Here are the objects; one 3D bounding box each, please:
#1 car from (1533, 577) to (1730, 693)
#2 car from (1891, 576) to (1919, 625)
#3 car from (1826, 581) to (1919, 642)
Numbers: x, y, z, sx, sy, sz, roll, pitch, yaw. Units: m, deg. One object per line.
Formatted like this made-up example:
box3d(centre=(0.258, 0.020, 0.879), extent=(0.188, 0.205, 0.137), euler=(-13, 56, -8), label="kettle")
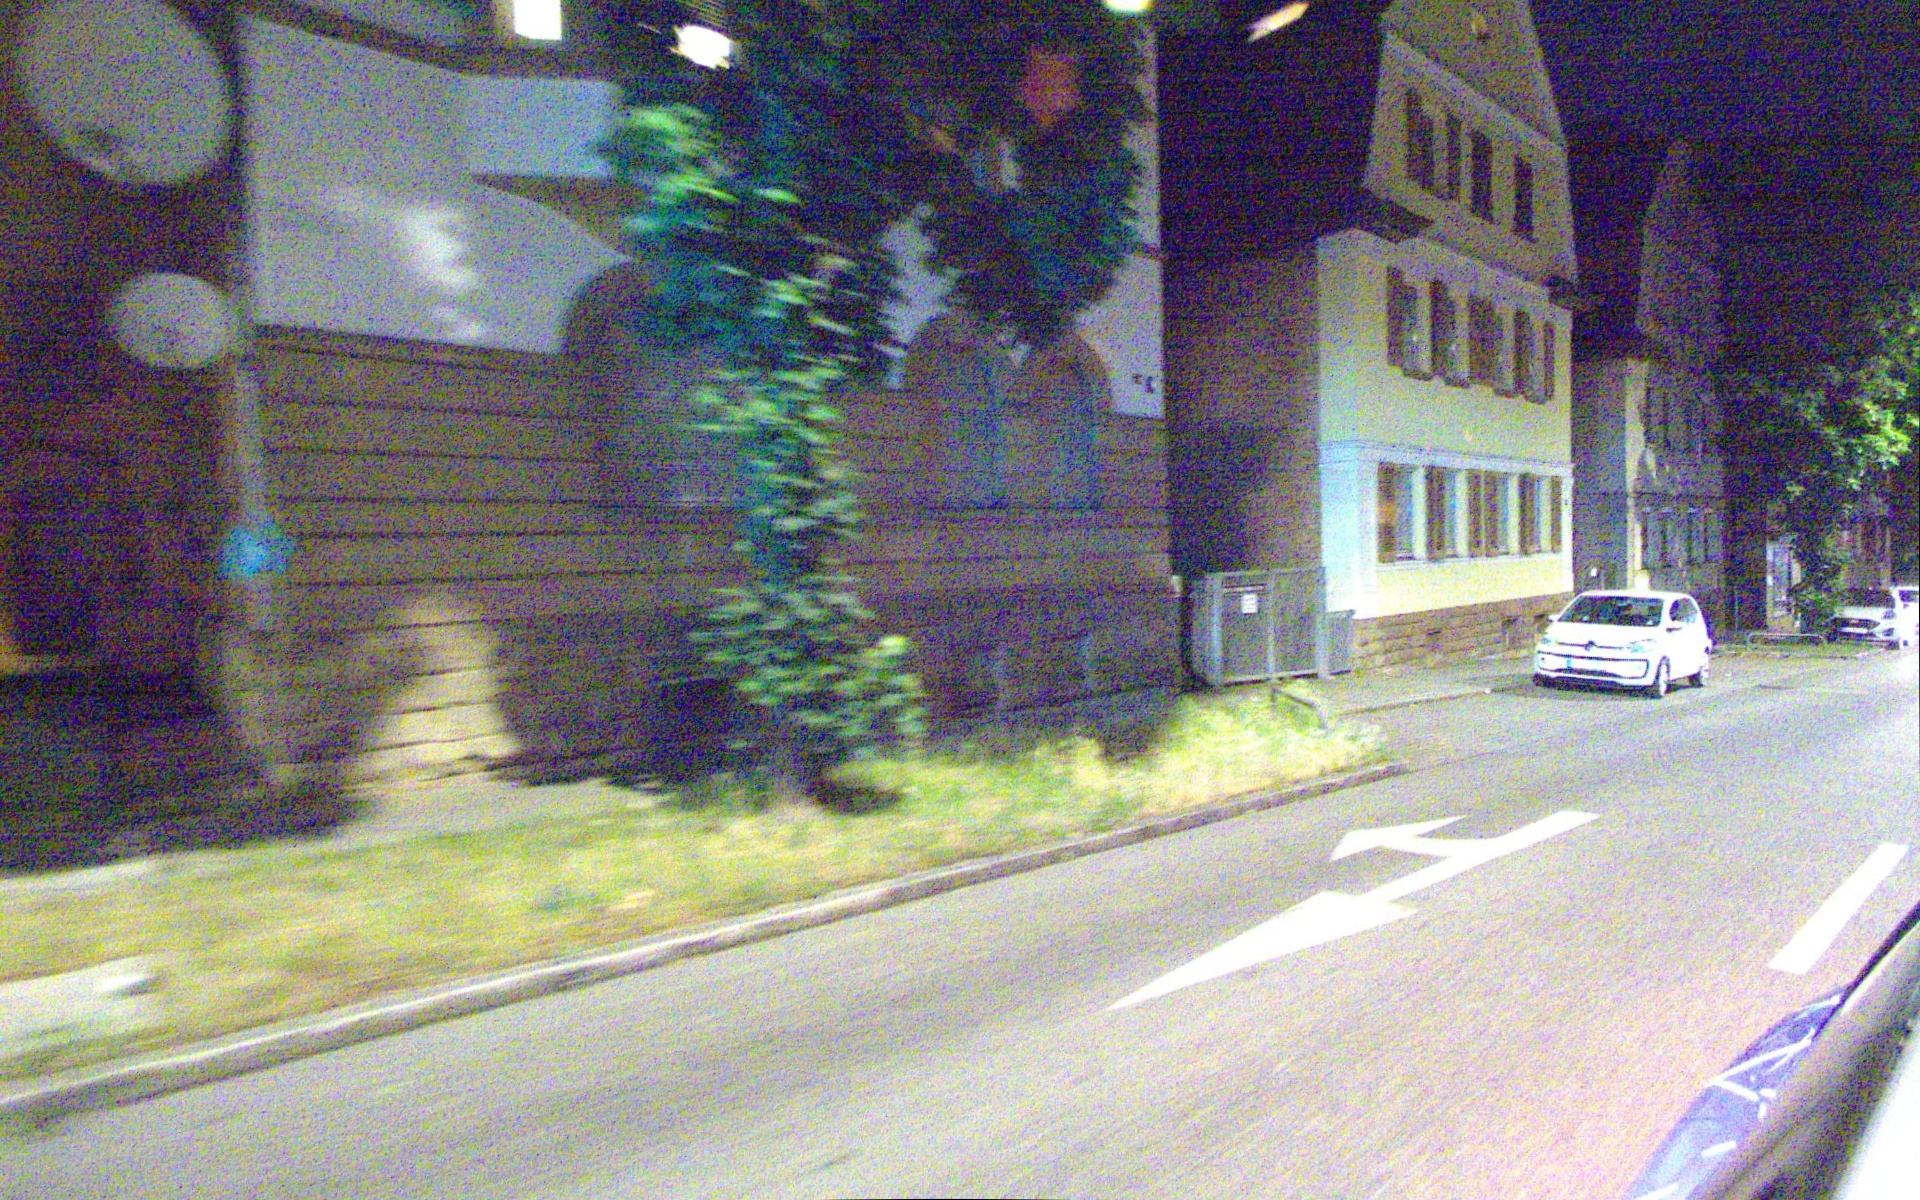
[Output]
box3d(centre=(10.226, 0.444, 15.339), extent=(3.425, 1.527, 1.610), euler=(0, 2, -41), label="car")
box3d(centre=(34.513, 0.005, 35.860), extent=(4.107, 1.673, 1.850), euler=(-1, 0, -41), label="car")
box3d(centre=(24.573, 0.246, 27.021), extent=(3.824, 1.516, 1.740), euler=(-1, 2, -42), label="car")
